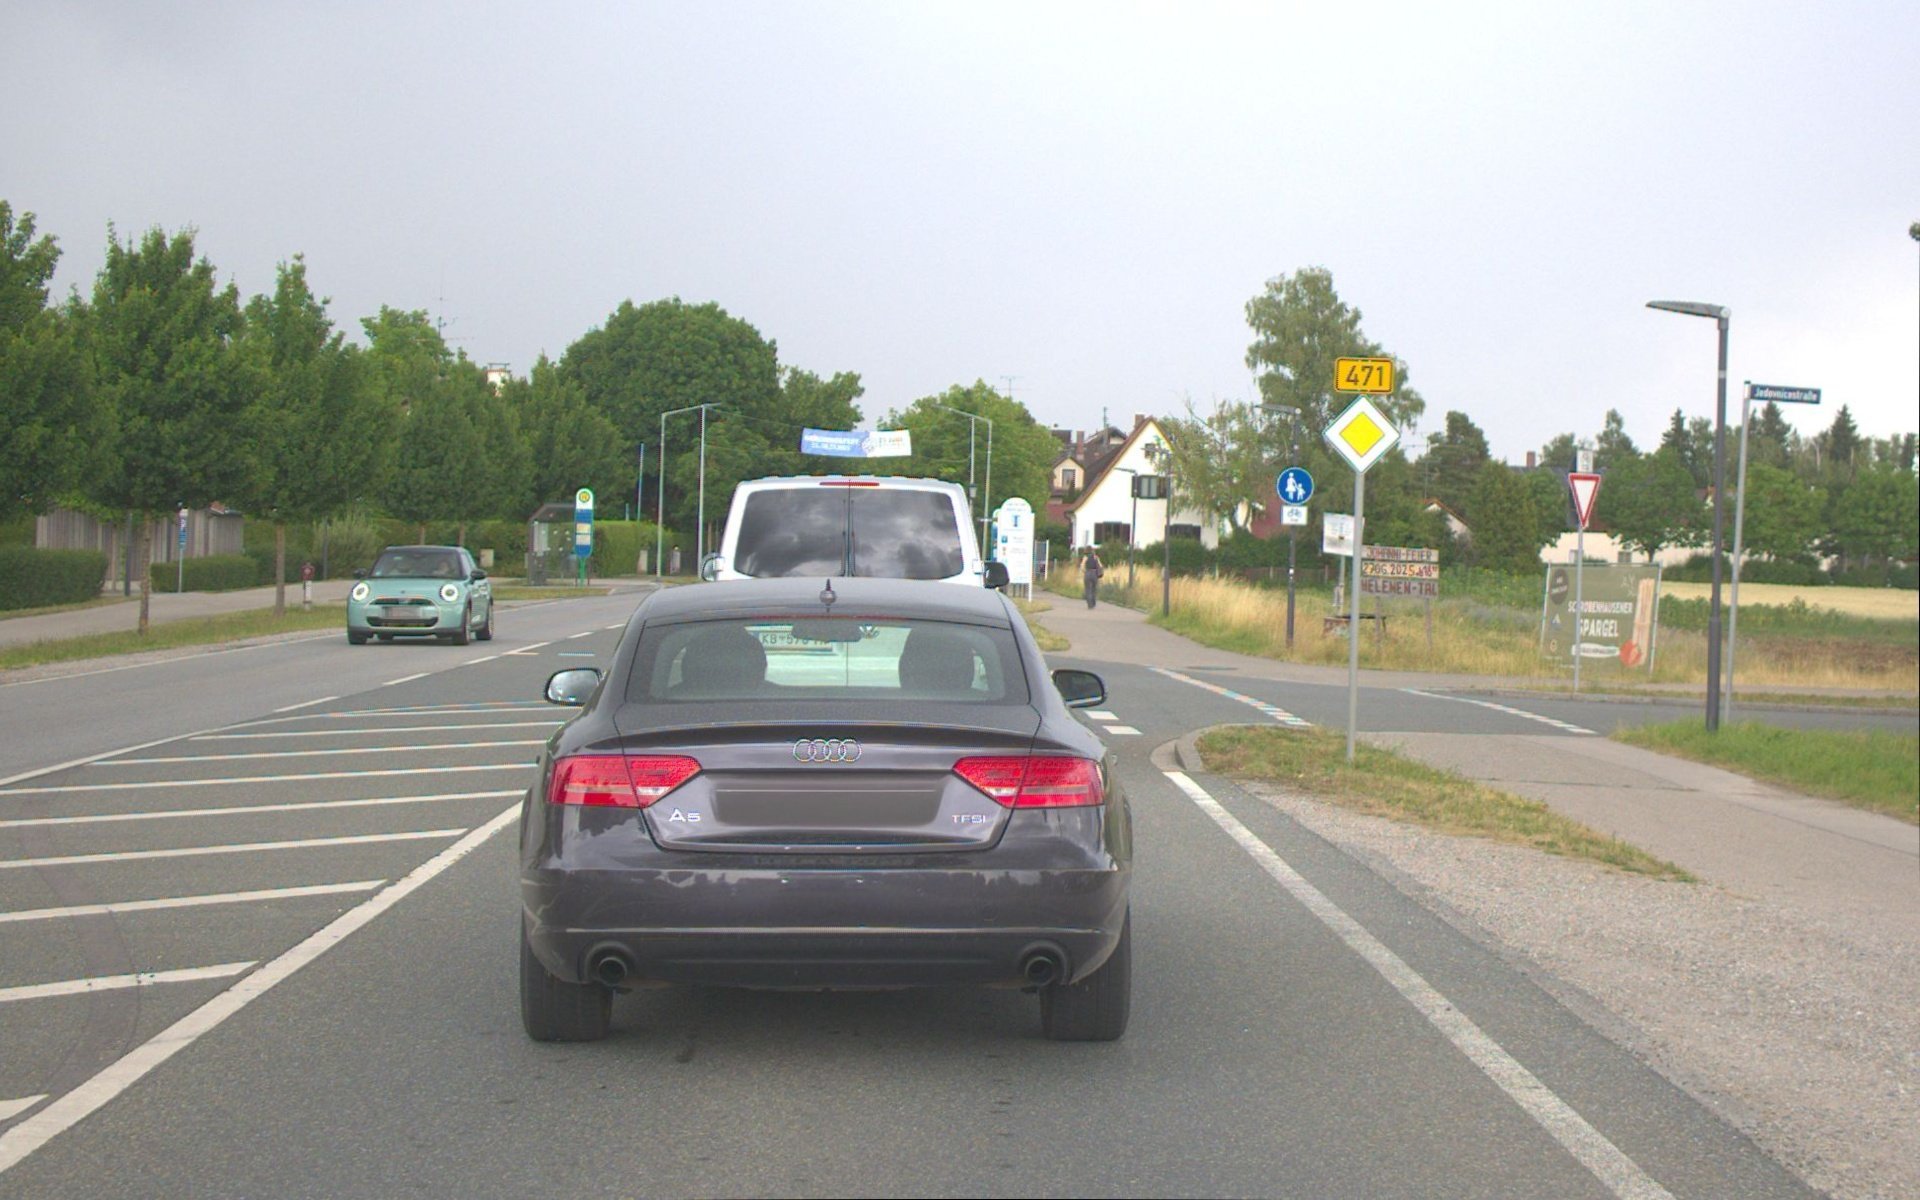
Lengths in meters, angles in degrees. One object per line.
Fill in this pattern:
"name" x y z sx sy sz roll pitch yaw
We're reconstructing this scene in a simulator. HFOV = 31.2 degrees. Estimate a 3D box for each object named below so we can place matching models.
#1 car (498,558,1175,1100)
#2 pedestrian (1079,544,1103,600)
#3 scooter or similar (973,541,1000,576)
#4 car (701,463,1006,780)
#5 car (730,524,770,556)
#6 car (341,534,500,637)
"car" -0.521 0.589 11.479 1.825 1.384 4.388 0 2 -5
"pedestrian" 3.600 -0.763 94.232 0.623 1.519 0.680 0 1 -1
"scooter or similar" 0.866 -1.351 111.594 0.848 1.100 1.094 0 1 0
"car" -0.747 0.088 23.564 1.825 1.907 4.001 3 1 -2
"car" -9.400 -2.713 154.306 1.653 1.424 3.603 0 1 -1
"car" -7.908 -0.239 50.694 1.770 1.438 4.000 0 1 -1
